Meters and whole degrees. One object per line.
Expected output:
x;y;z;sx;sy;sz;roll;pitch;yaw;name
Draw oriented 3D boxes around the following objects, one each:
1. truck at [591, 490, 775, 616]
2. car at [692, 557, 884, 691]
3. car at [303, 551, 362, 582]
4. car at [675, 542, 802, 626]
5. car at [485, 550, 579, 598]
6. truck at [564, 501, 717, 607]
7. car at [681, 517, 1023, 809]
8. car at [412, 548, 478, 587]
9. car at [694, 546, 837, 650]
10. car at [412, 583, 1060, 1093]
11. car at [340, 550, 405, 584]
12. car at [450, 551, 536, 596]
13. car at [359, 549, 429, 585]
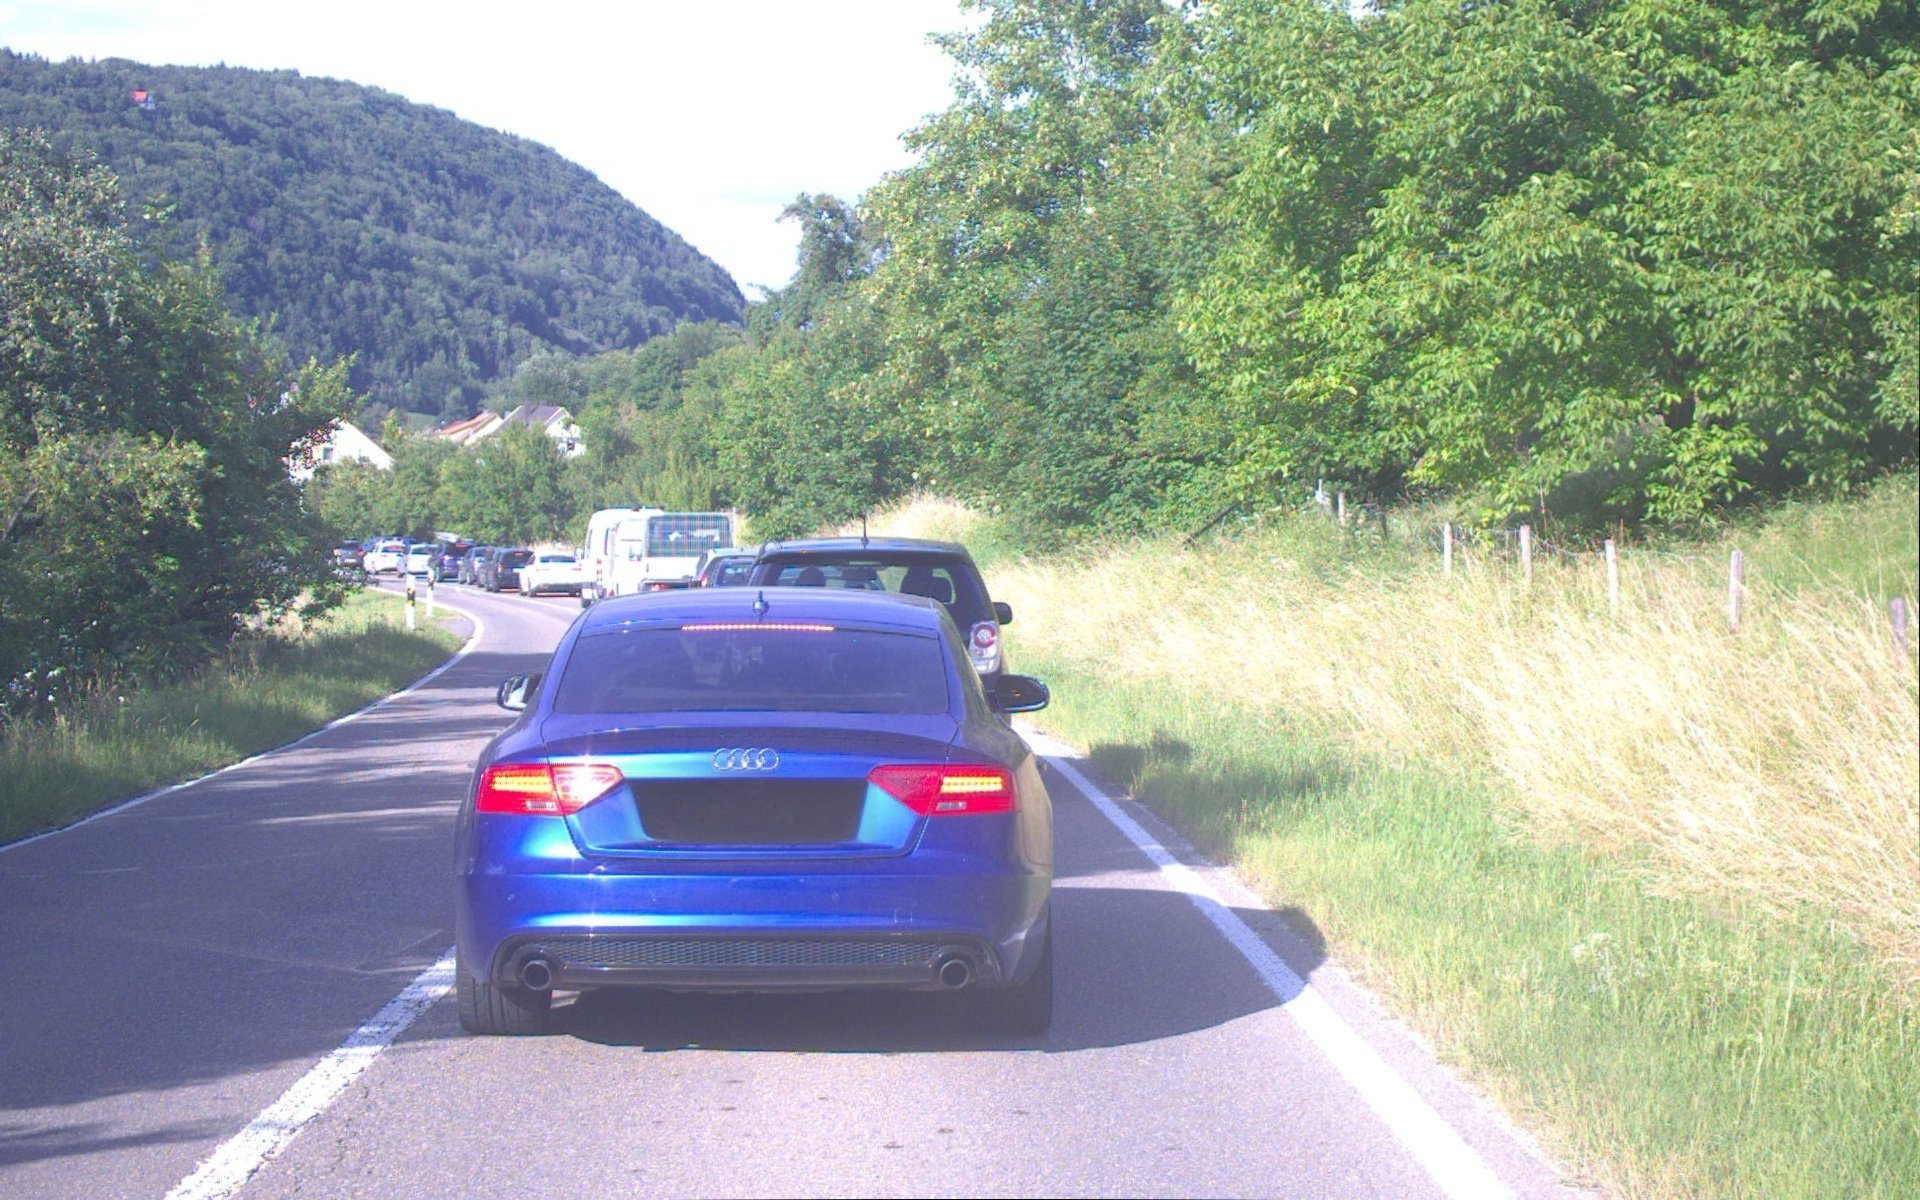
-6.437;-1.068;78.404;2.863;2.656;10.396;1;1;-12;truck
-1.844;0.244;38.008;1.993;1.382;4.000;1;0;-1;car
-30.724;-1.631;168.269;1.993;1.477;4.001;1;0;-23;car
-4.100;-0.294;63.155;1.993;1.477;4.001;1;0;-8;car
-13.585;-0.817;108.975;1.993;1.477;4.001;1;0;-21;car
-8.662;-1.239;92.001;2.863;2.656;10.648;1;1;-12;truck
-0.677;0.357;22.220;1.993;1.696;4.000;1;0;-1;car
-20.543;-1.296;137.009;1.993;1.477;4.001;1;0;-17;car
-2.874;-0.039;51.533;1.993;1.477;4.000;1;0;-1;car
-0.632;0.652;11.544;1.793;1.355;4.000;0;1;0;car
-26.576;-1.499;155.312;1.993;1.477;4.001;1;0;-23;car
-15.825;-0.900;116.308;1.993;1.477;4.001;1;0;-21;car
-24.014;-1.402;145.702;1.993;1.477;4.001;1;0;-23;car
